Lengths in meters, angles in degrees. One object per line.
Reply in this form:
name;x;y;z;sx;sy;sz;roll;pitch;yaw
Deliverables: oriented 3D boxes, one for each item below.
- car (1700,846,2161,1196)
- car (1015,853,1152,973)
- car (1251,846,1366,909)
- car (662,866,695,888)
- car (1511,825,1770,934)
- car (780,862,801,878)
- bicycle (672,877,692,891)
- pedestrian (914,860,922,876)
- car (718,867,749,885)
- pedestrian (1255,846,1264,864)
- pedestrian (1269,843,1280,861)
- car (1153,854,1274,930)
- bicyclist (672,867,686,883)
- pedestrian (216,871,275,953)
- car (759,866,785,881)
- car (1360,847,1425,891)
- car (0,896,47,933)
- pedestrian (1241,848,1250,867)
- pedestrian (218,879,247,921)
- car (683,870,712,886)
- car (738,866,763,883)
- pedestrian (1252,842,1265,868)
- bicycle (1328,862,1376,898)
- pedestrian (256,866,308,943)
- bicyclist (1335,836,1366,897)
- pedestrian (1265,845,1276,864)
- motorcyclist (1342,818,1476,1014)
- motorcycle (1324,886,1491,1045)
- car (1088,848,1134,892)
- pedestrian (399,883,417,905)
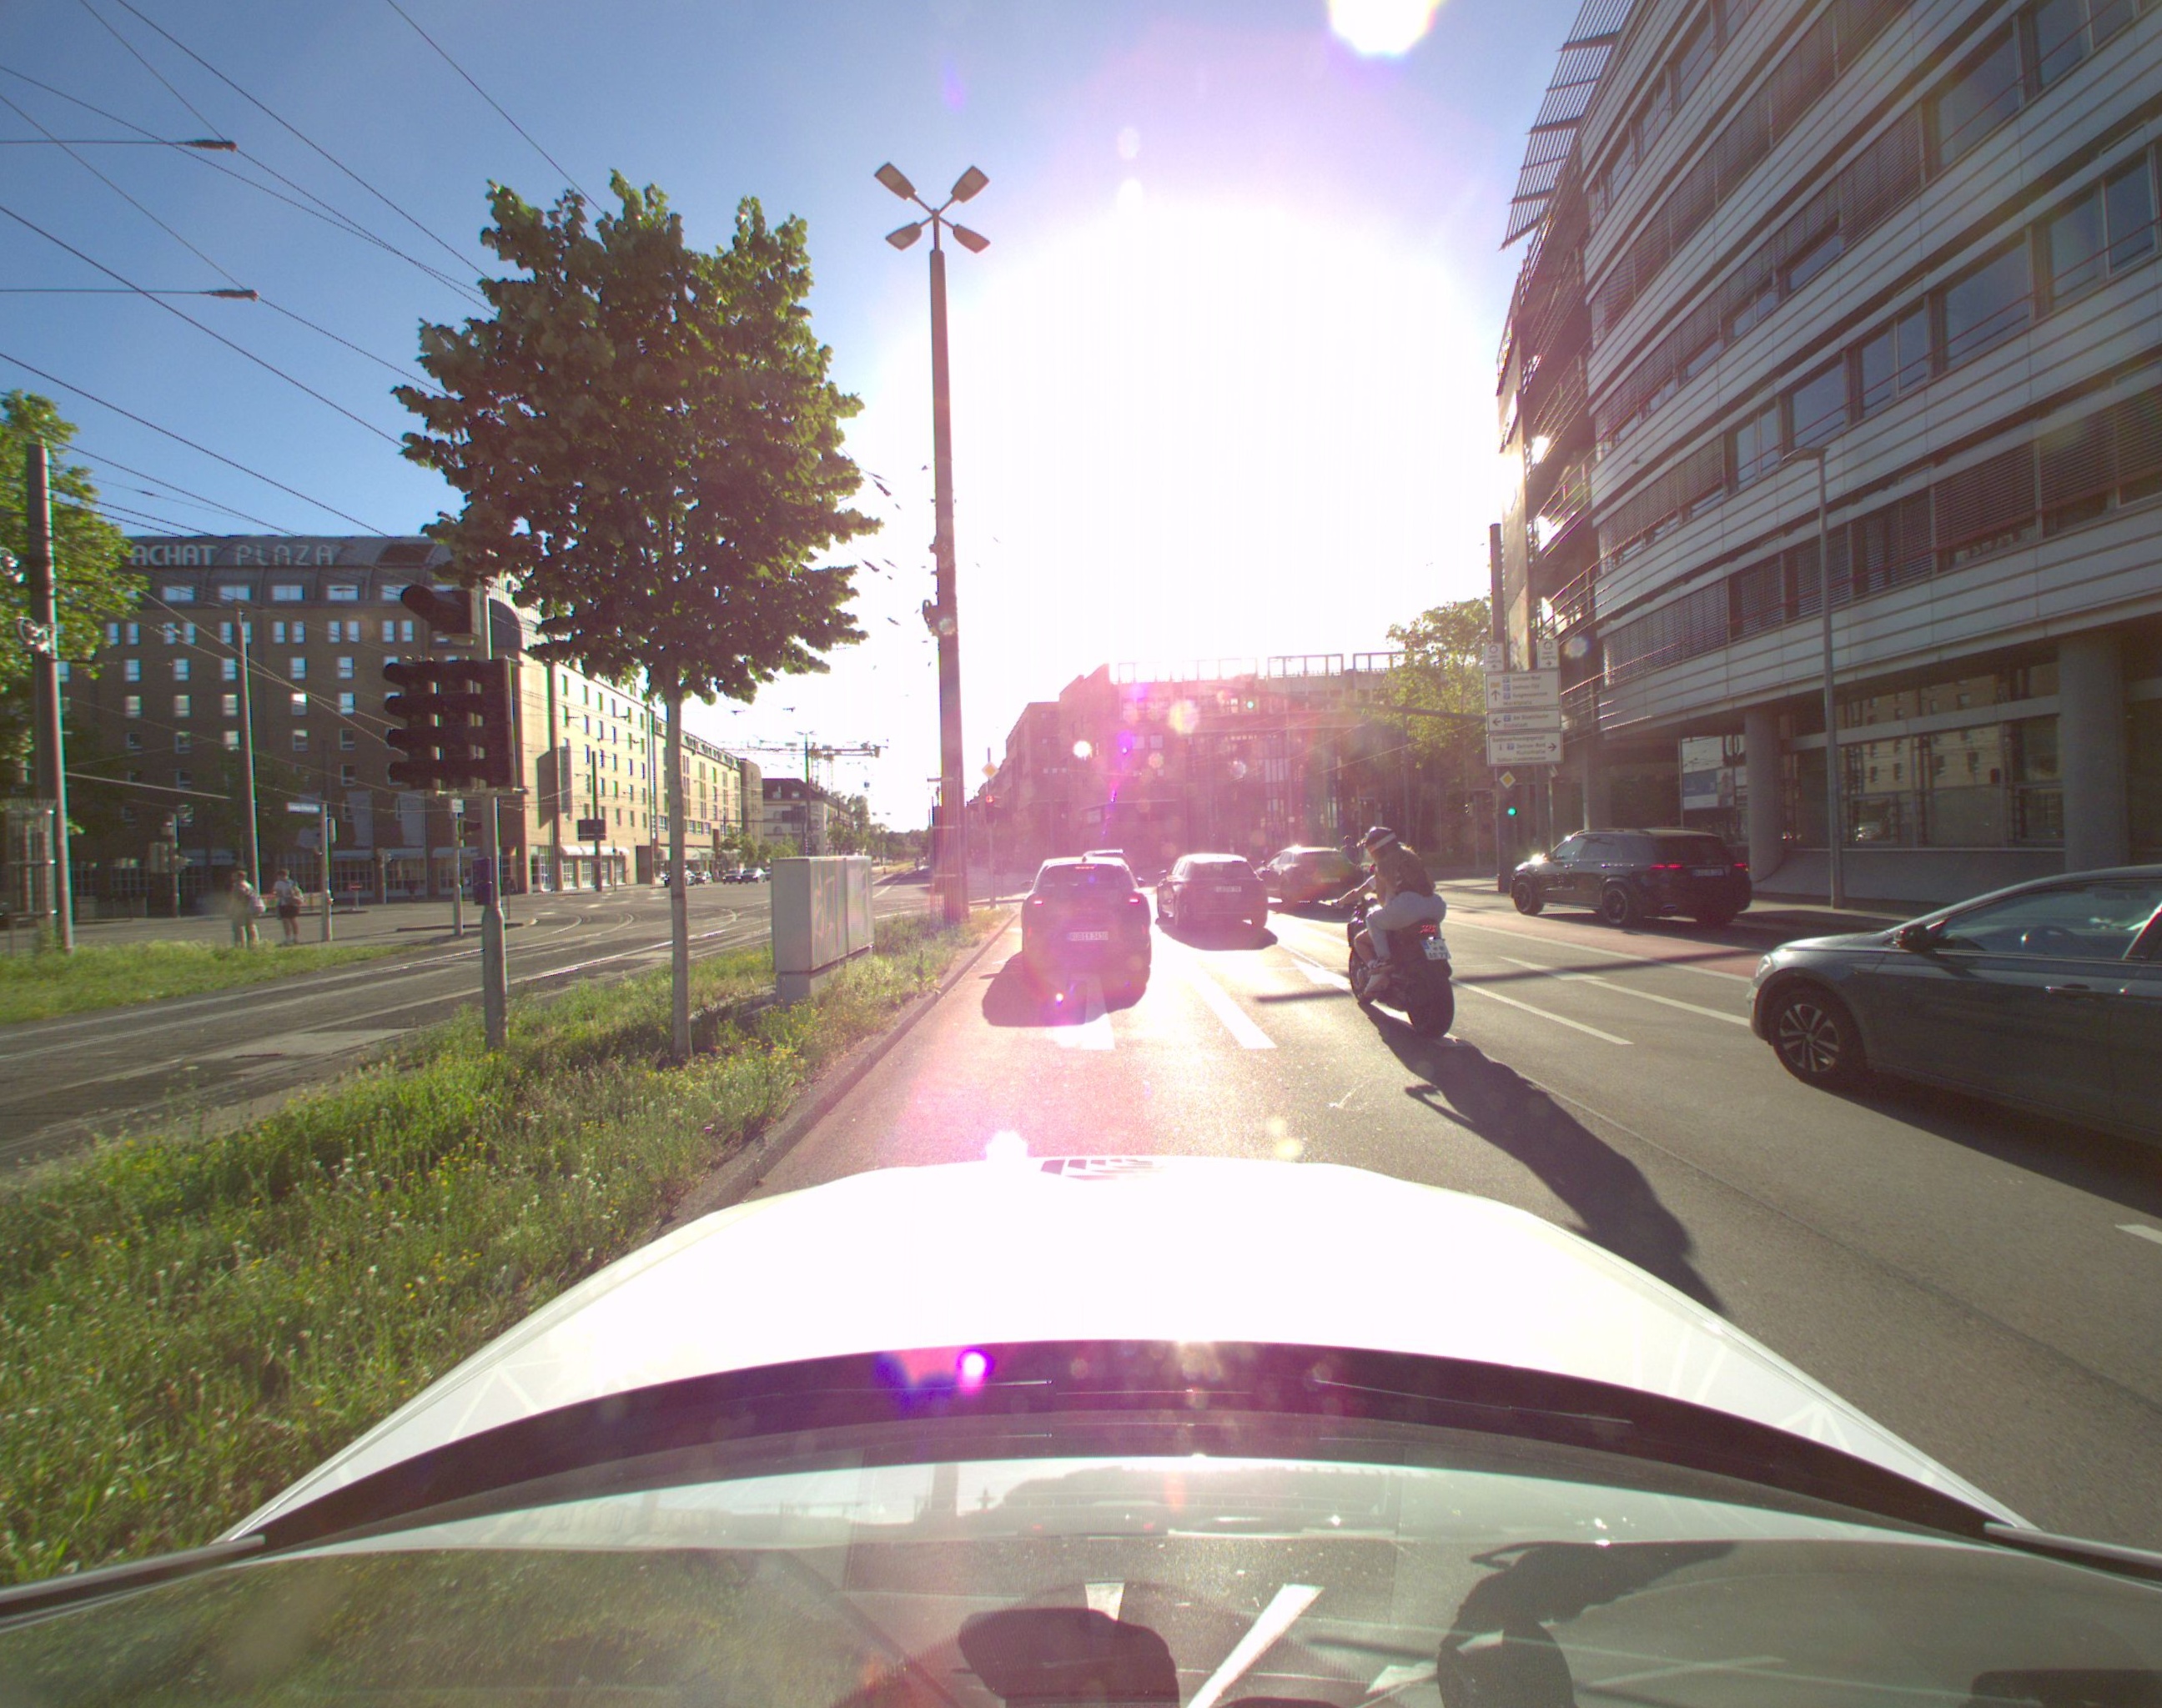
car;5.430;0.694;3.962;1.801;1.457;3.999;-1;0;0
car;0.100;0.725;12.008;1.643;1.433;4.002;-2;0;2
car;5.835;0.549;21.411;1.802;1.457;3.997;-1;0;-2
car;-40.163;2.254;81.432;1.995;2.013;3.983;-2;0;-12
car;10.473;0.422;15.735;1.987;1.750;4.328;-2;0;0
car;-29.748;1.616;83.520;1.749;1.504;3.859;-2;0;-16
bicycle;-35.443;2.678;72.417;0.649;1.085;2.919;-2;0;-7
pedestrian;-16.853;1.434;84.366;0.742;1.640;0.765;-2;0;-9
car;-35.051;2.224;82.326;1.995;1.596;4.718;-2;0;-12
pedestrian;16.383;0.076;74.895;0.734;1.617;0.562;-2;0;9
pedestrian;17.471;-0.202;73.578;0.895;1.617;0.562;-2;0;9
car;2.640;0.694;17.059;1.733;1.349;3.997;-2;0;-2
bicyclist;-35.419;1.828;71.746;0.756;1.375;0.948;-2;0;-7
pedestrian;-19.464;1.334;18.982;0.630;1.830;0.661;-2;0;-6
car;-33.414;2.056;88.148;1.569;1.449;3.995;-2;0;-4
car;11.296;0.473;29.411;1.976;1.419;4.023;0;1;24
car;-45.949;2.566;33.602;3.981;1.420;1.756;-2;0;-6
pedestrian;12.819;0.258;63.343;0.528;1.430;0.598;-2;0;0
pedestrian;-41.848;2.258;40.179;0.663;2.013;0.678;-2;0;1
car;-41.358;2.583;87.953;1.886;1.510;3.983;-2;0;-12
car;-31.185;1.921;77.027;1.749;1.504;3.859;-2;0;-16
pedestrian;12.196;0.054;55.998;0.700;1.759;0.564;-2;0;26
bicycle;8.204;0.772;24.770;0.491;0.997;2.324;-2;0;-4
pedestrian;-19.589;1.228;19.972;0.562;1.817;0.661;-2;0;-6
bicyclist;8.188;0.371;24.771;0.576;1.791;0.862;-2;0;-4
pedestrian;16.849;0.028;72.366;0.895;1.617;0.562;-2;0;9
motorcyclist;2.767;0.492;6.980;0.741;1.530;1.022;-2;0;4
motorcycle;2.802;0.900;7.245;0.772;1.115;1.971;-2;0;4
car;1.230;0.623;33.451;1.730;1.651;4.002;-2;0;2
pedestrian;-47.371;2.827;57.309;0.674;1.503;0.658;-2;0;-3
